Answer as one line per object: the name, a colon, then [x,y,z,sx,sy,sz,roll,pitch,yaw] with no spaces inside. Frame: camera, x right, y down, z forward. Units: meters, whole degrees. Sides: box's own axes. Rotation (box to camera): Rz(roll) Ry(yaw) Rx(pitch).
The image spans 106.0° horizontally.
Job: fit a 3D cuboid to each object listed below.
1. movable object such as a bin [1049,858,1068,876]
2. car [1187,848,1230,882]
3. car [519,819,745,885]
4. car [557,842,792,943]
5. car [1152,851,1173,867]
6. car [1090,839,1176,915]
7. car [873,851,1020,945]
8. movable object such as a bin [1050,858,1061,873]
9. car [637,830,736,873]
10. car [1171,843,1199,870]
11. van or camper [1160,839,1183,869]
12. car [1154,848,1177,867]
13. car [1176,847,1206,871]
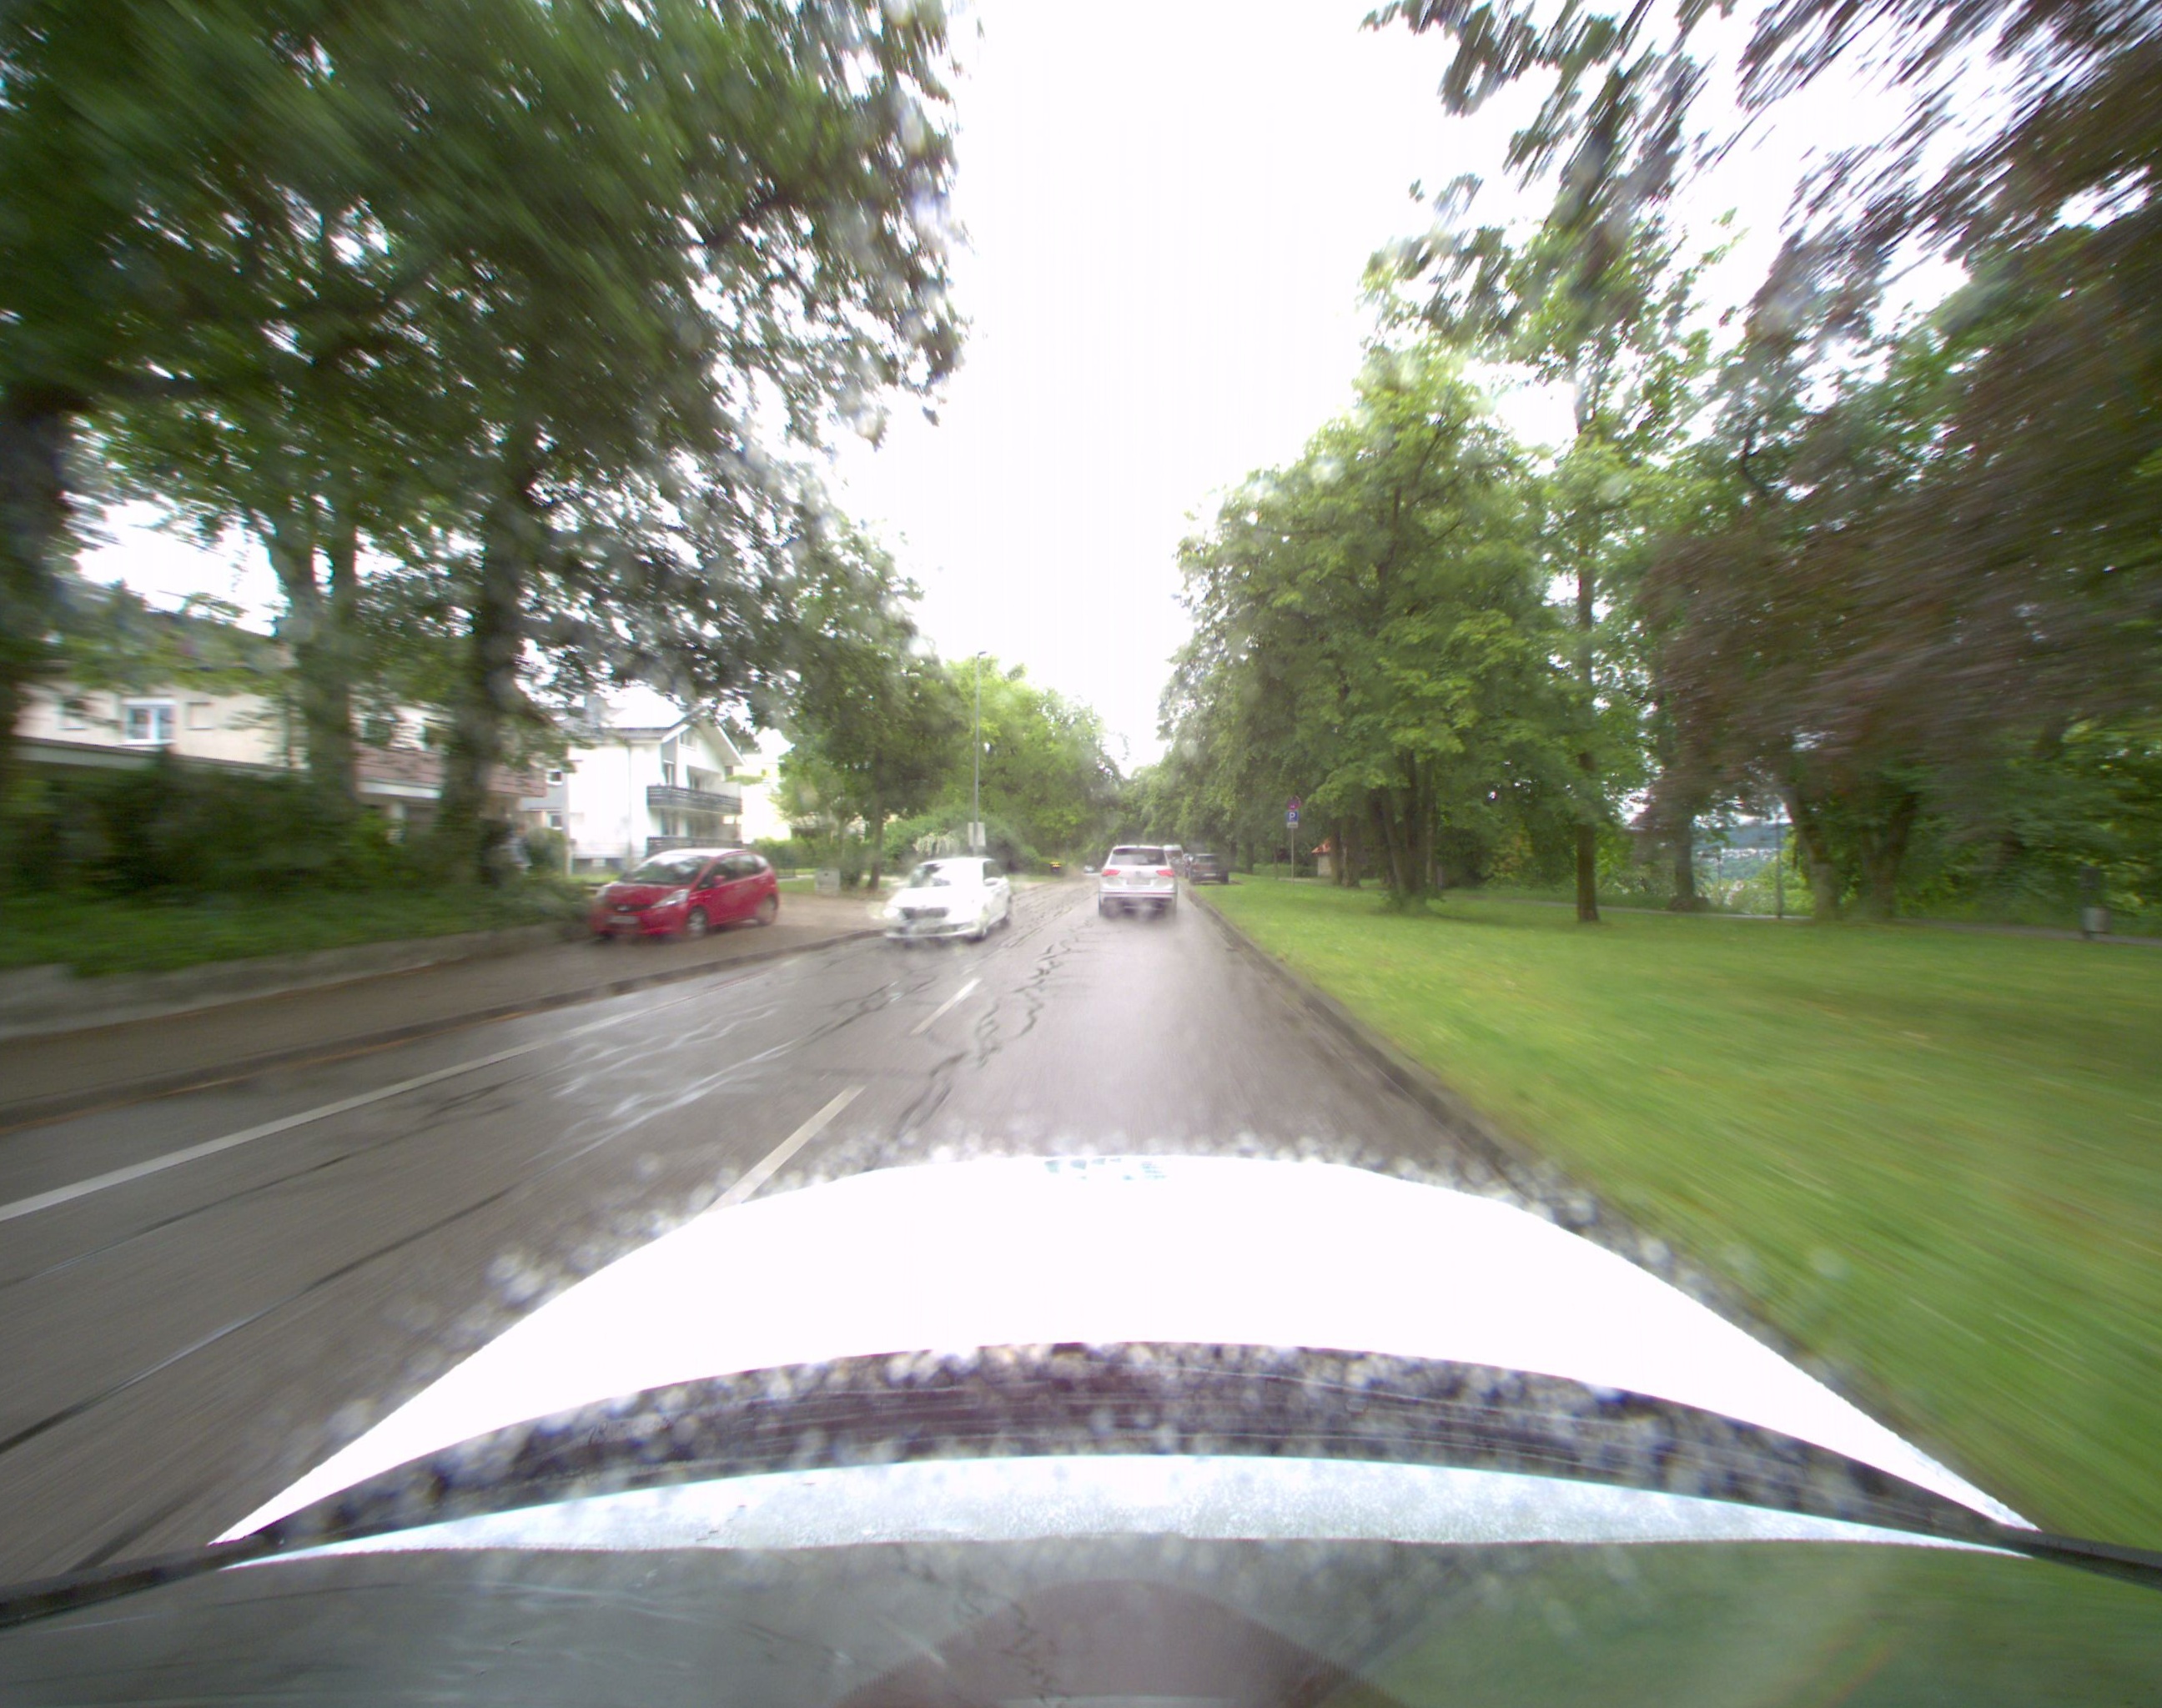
movable object such as a bin: [-1.504,0.894,54.463,1.032,1.105,0.968,-4,-1,6]
car: [5.950,0.503,38.361,1.692,1.461,4.223,-2,0,5]
car: [-15.107,-0.078,27.838,5.723,2.038,3.480,1,1,0]
car: [-7.248,0.587,15.058,1.983,1.516,4.008,2,2,6]
car: [8.381,0.556,83.994,1.798,1.539,4.268,-2,0,1]
car: [1.256,0.507,20.131,1.897,1.685,4.203,0,0,2]
car: [-2.349,0.715,15.268,1.692,1.410,4.014,-3,0,5]
movable object such as a bin: [-1.721,0.786,55.178,0.645,0.979,0.579,1,0,6]
car: [-19.967,-0.145,41.345,3.975,2.013,1.999,-2,0,-1]
car: [7.242,0.158,56.991,1.772,1.719,4.268,-2,0,6]
van or camper: [8.590,-0.025,77.236,2.006,2.583,8.449,1,0,6]
car: [7.116,0.313,68.757,1.856,1.511,3.731,-1,0,6]
car: [6.744,0.289,50.143,1.734,1.452,4.007,-1,0,6]
